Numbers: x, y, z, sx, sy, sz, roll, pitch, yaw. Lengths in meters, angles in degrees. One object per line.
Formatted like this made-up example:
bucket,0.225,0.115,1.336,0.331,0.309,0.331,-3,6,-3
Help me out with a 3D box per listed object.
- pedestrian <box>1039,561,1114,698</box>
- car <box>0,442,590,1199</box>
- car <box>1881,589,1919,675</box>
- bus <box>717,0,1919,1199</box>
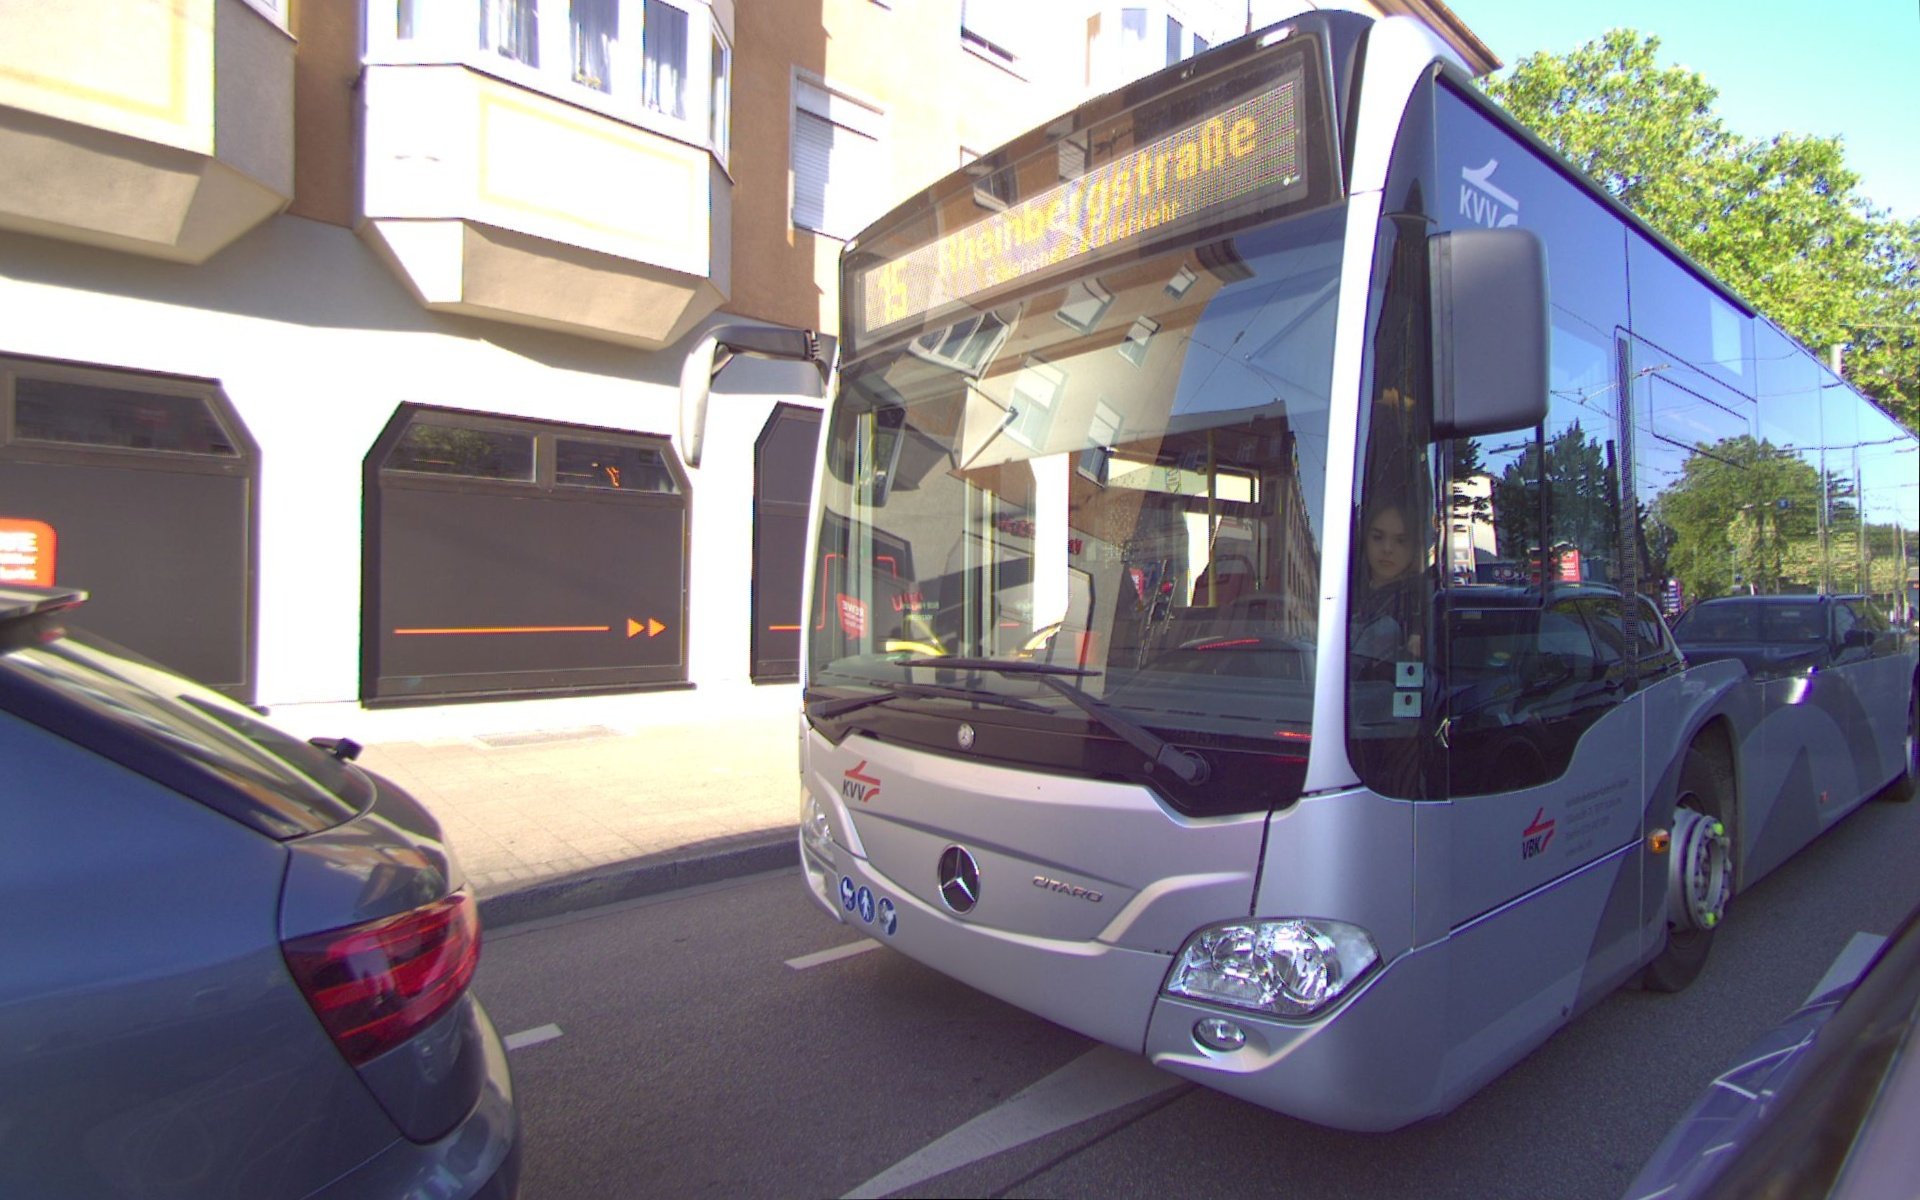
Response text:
pedestrian,1.421,0.343,12.332,0.656,1.603,0.580,0,1,-40
car,-2.604,0.639,0.627,4.151,1.572,1.700,0,-1,-41
car,19.691,0.589,20.091,3.759,1.628,1.747,-1,0,-43
bus,6.490,-0.205,8.725,17.432,3.189,2.771,0,1,-41
